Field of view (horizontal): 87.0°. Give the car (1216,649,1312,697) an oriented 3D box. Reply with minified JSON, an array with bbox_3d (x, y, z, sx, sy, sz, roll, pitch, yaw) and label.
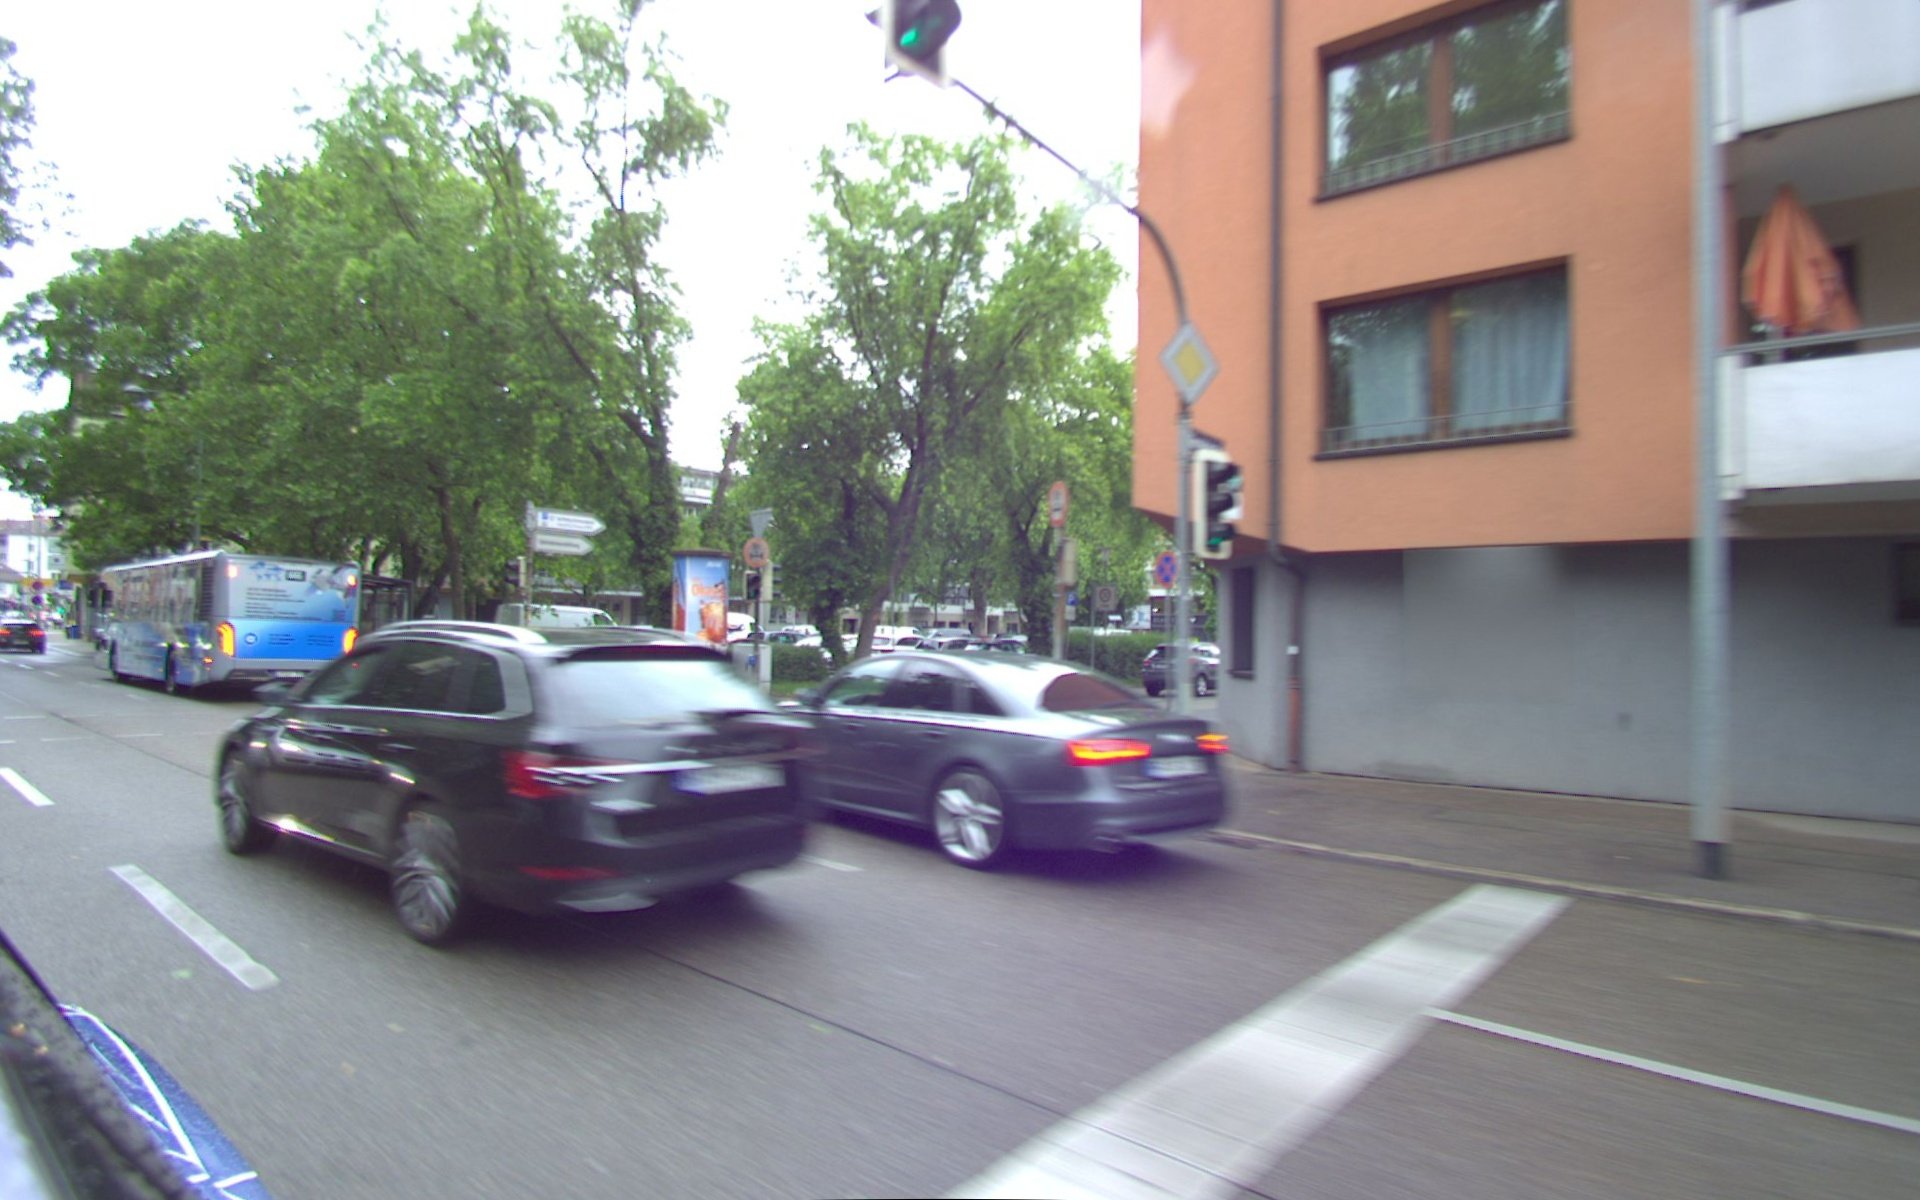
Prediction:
[{"bbox_3d":[10.859,2.577,35.955,1.817,1.609,4.314,-2,-4,38],"label":"car"}]

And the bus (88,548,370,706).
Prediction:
[{"bbox_3d":[-17.682,0.619,23.909,12.079,2.962,2.665,-1,-3,41],"label":"bus"}]

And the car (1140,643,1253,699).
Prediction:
[{"bbox_3d":[7.480,2.213,31.739,1.817,1.609,4.314,-2,-4,38],"label":"car"}]

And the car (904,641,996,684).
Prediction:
[{"bbox_3d":[-0.331,2.368,38.832,1.699,1.550,3.784,-1,-3,34],"label":"car"}]

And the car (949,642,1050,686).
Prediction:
[{"bbox_3d":[1.486,2.338,37.166,1.831,1.528,3.597,-2,-4,43],"label":"car"}]

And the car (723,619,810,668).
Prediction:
[{"bbox_3d":[-10.948,2.489,57.478,2.000,2.633,4.520,-2,-4,42],"label":"car"}]

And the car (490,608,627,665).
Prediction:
[{"bbox_3d":[-14.465,1.362,36.650,1.701,1.937,4.280,-1,-4,38],"label":"car"}]

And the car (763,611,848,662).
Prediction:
[{"bbox_3d":[-8.280,2.030,54.698,1.995,2.633,4.531,-1,-3,34],"label":"car"}]

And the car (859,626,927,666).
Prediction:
[{"bbox_3d":[-4.522,3.168,69.209,2.000,2.633,4.520,-2,-4,42],"label":"car"}]

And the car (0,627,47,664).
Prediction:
[{"bbox_3d":[-42.228,2.022,45.011,4.804,1.529,1.779,-2,-5,41],"label":"car"}]

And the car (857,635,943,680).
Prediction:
[{"bbox_3d":[-2.313,2.270,39.906,1.695,1.676,3.708,-1,-3,28],"label":"car"}]

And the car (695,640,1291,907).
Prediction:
[{"bbox_3d":[-0.059,1.089,7.992,1.792,1.426,4.811,5,-5,-43],"label":"car"}]

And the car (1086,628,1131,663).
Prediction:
[{"bbox_3d":[11.571,3.551,78.599,1.991,2.633,4.540,-1,-3,28],"label":"car"}]

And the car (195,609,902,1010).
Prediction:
[{"bbox_3d":[-2.610,0.860,5.857,4.485,1.469,1.778,-1,-4,39],"label":"car"}]
